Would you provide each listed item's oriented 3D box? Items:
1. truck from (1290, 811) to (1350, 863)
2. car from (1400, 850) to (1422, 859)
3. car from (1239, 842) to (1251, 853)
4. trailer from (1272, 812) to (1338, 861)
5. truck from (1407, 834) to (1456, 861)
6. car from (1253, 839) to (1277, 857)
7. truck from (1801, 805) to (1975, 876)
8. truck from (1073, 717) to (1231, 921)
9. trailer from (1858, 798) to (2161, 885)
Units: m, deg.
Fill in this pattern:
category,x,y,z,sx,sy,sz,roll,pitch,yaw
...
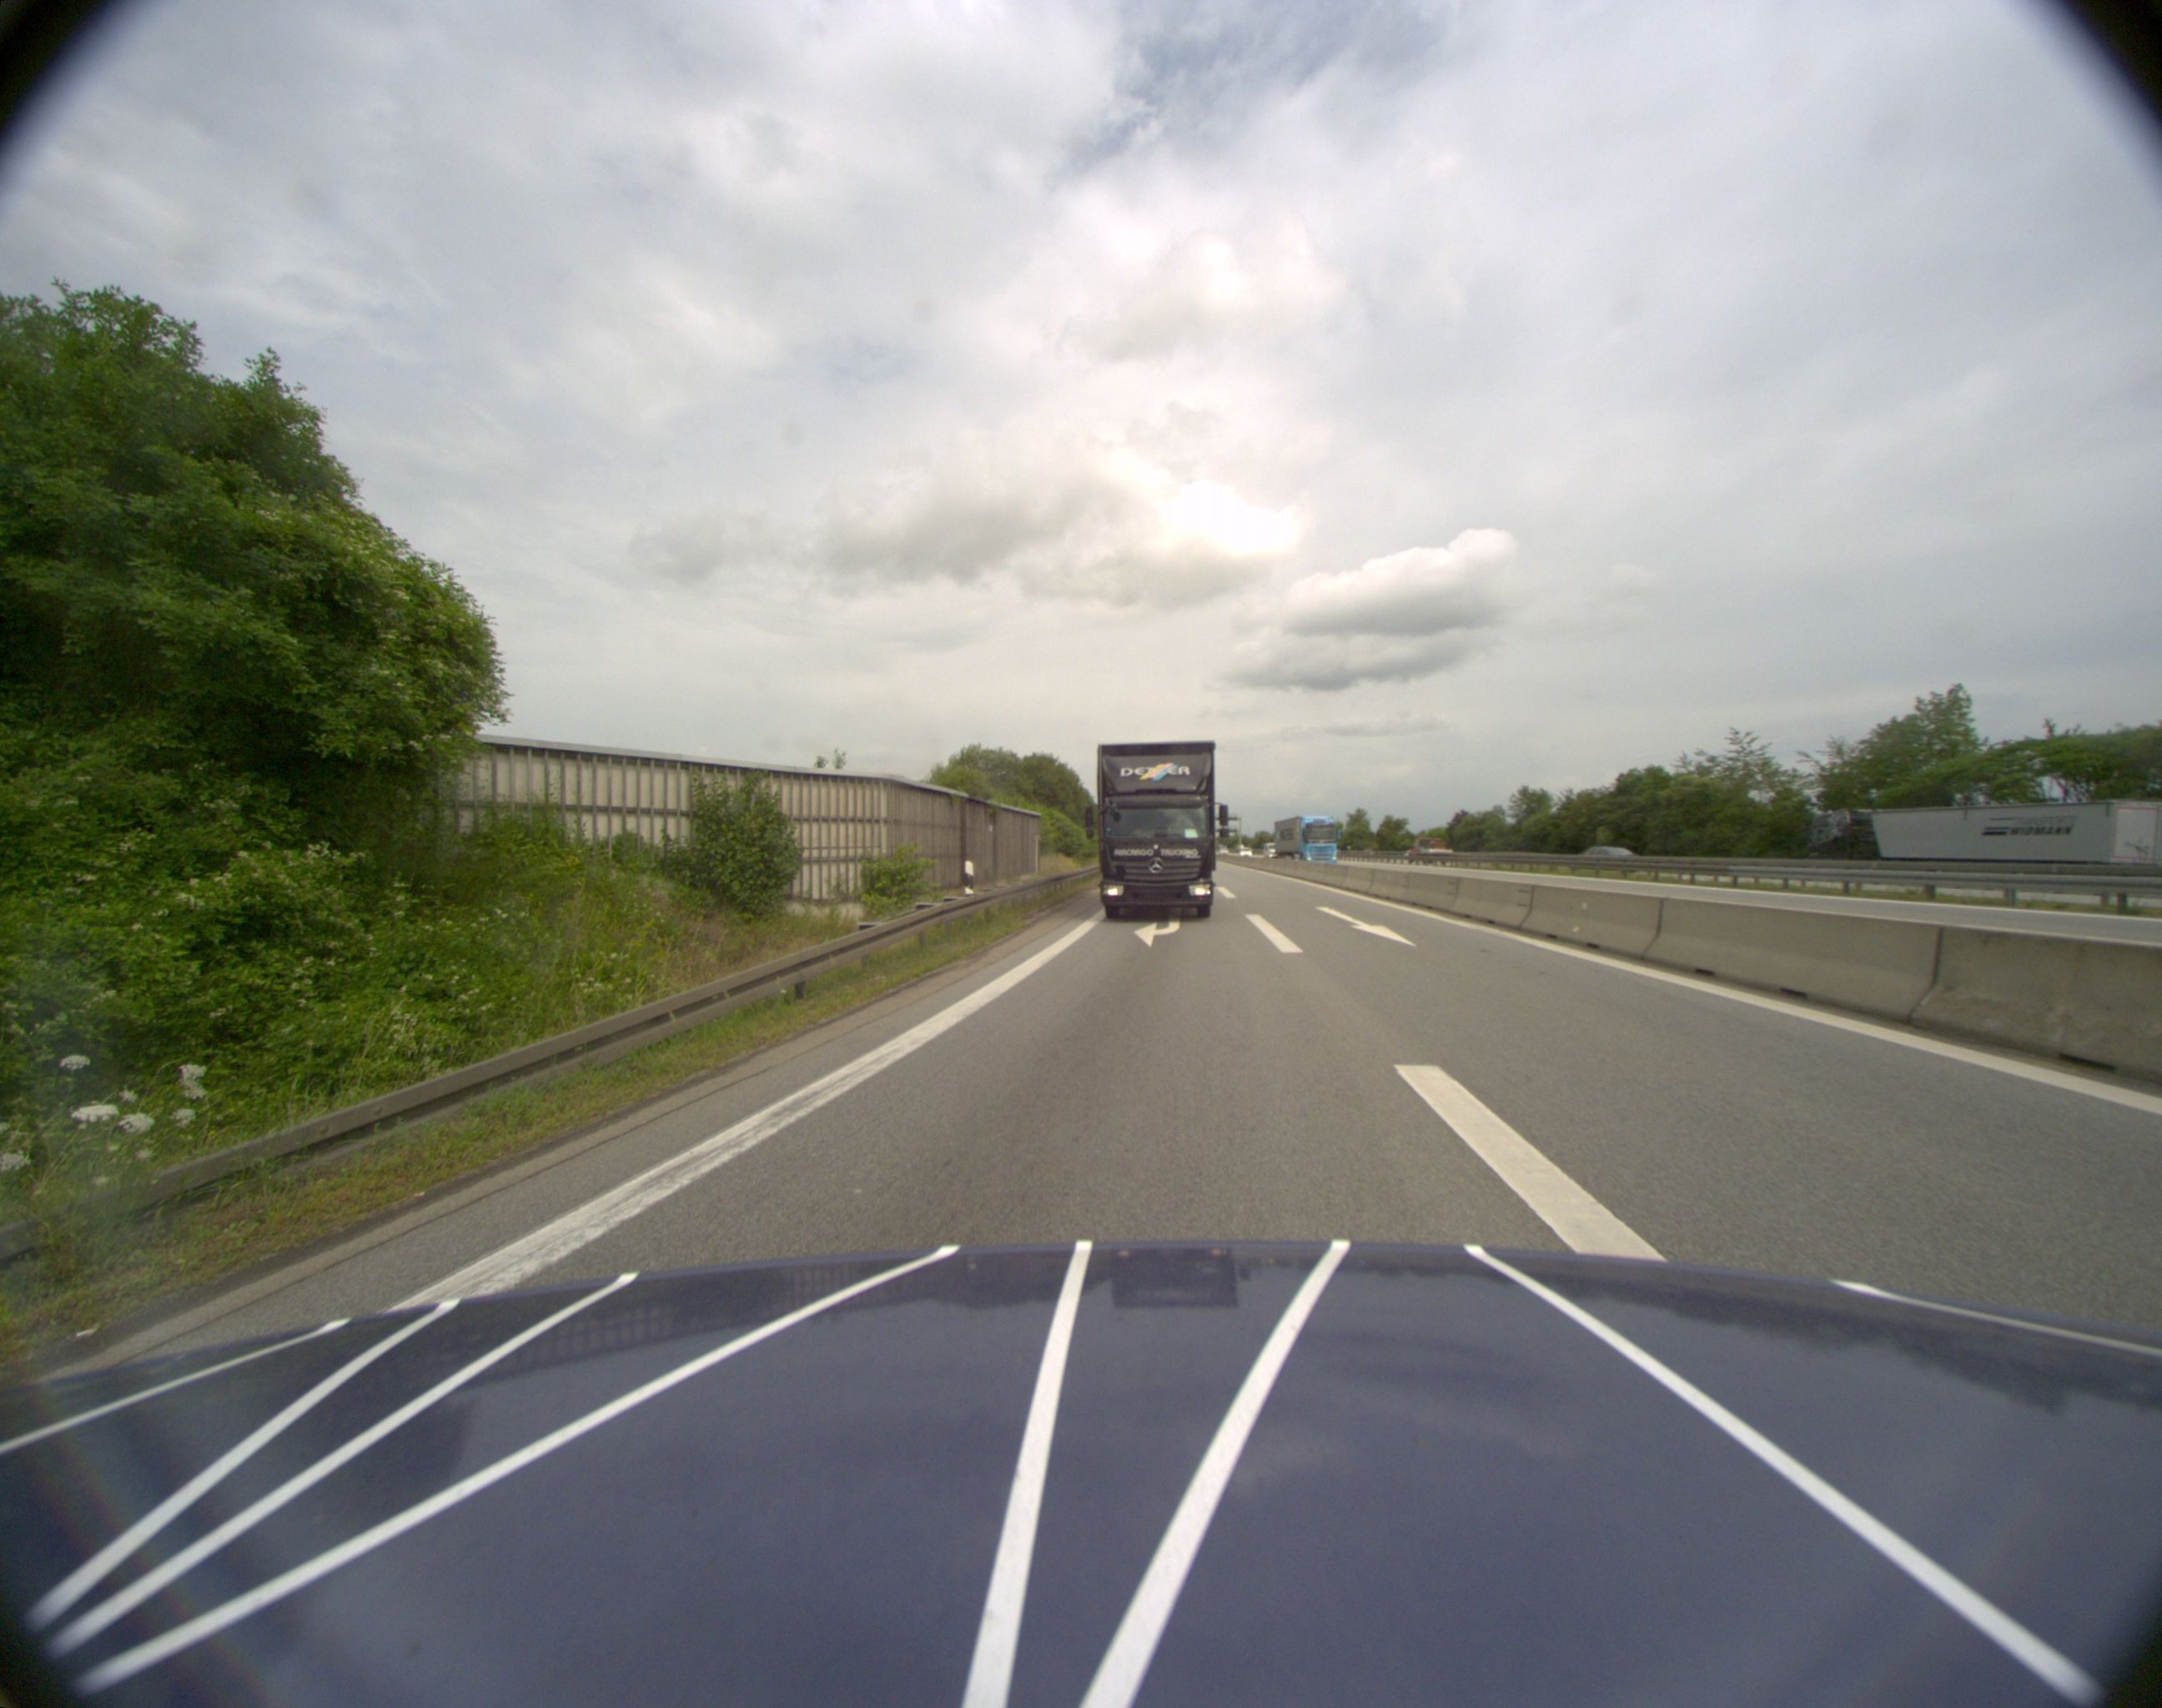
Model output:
category,x,y,z,sx,sy,sz,roll,pitch,yaw
truck,19.030,-1.366,60.892,3.253,3.889,6.611,-1,1,5
car,48.624,0.063,111.993,1.690,1.186,4.005,-1,1,5
car,24.052,-0.933,111.398,1.683,1.476,3.778,-1,0,11
trailer,19.695,-1.511,67.681,3.243,3.902,12.383,-1,1,5
truck,32.408,-0.596,70.448,2.281,2.356,6.203,0,1,6
car,20.959,-0.756,86.751,2.004,1.927,5.133,-2,1,6
truck,40.890,-0.679,38.821,3.156,3.311,5.624,-1,1,5
truck,1.995,-0.737,20.068,3.023,3.932,10.344,-1,1,7
trailer,40.460,-0.549,33.354,3.204,3.250,9.826,-1,1,4
